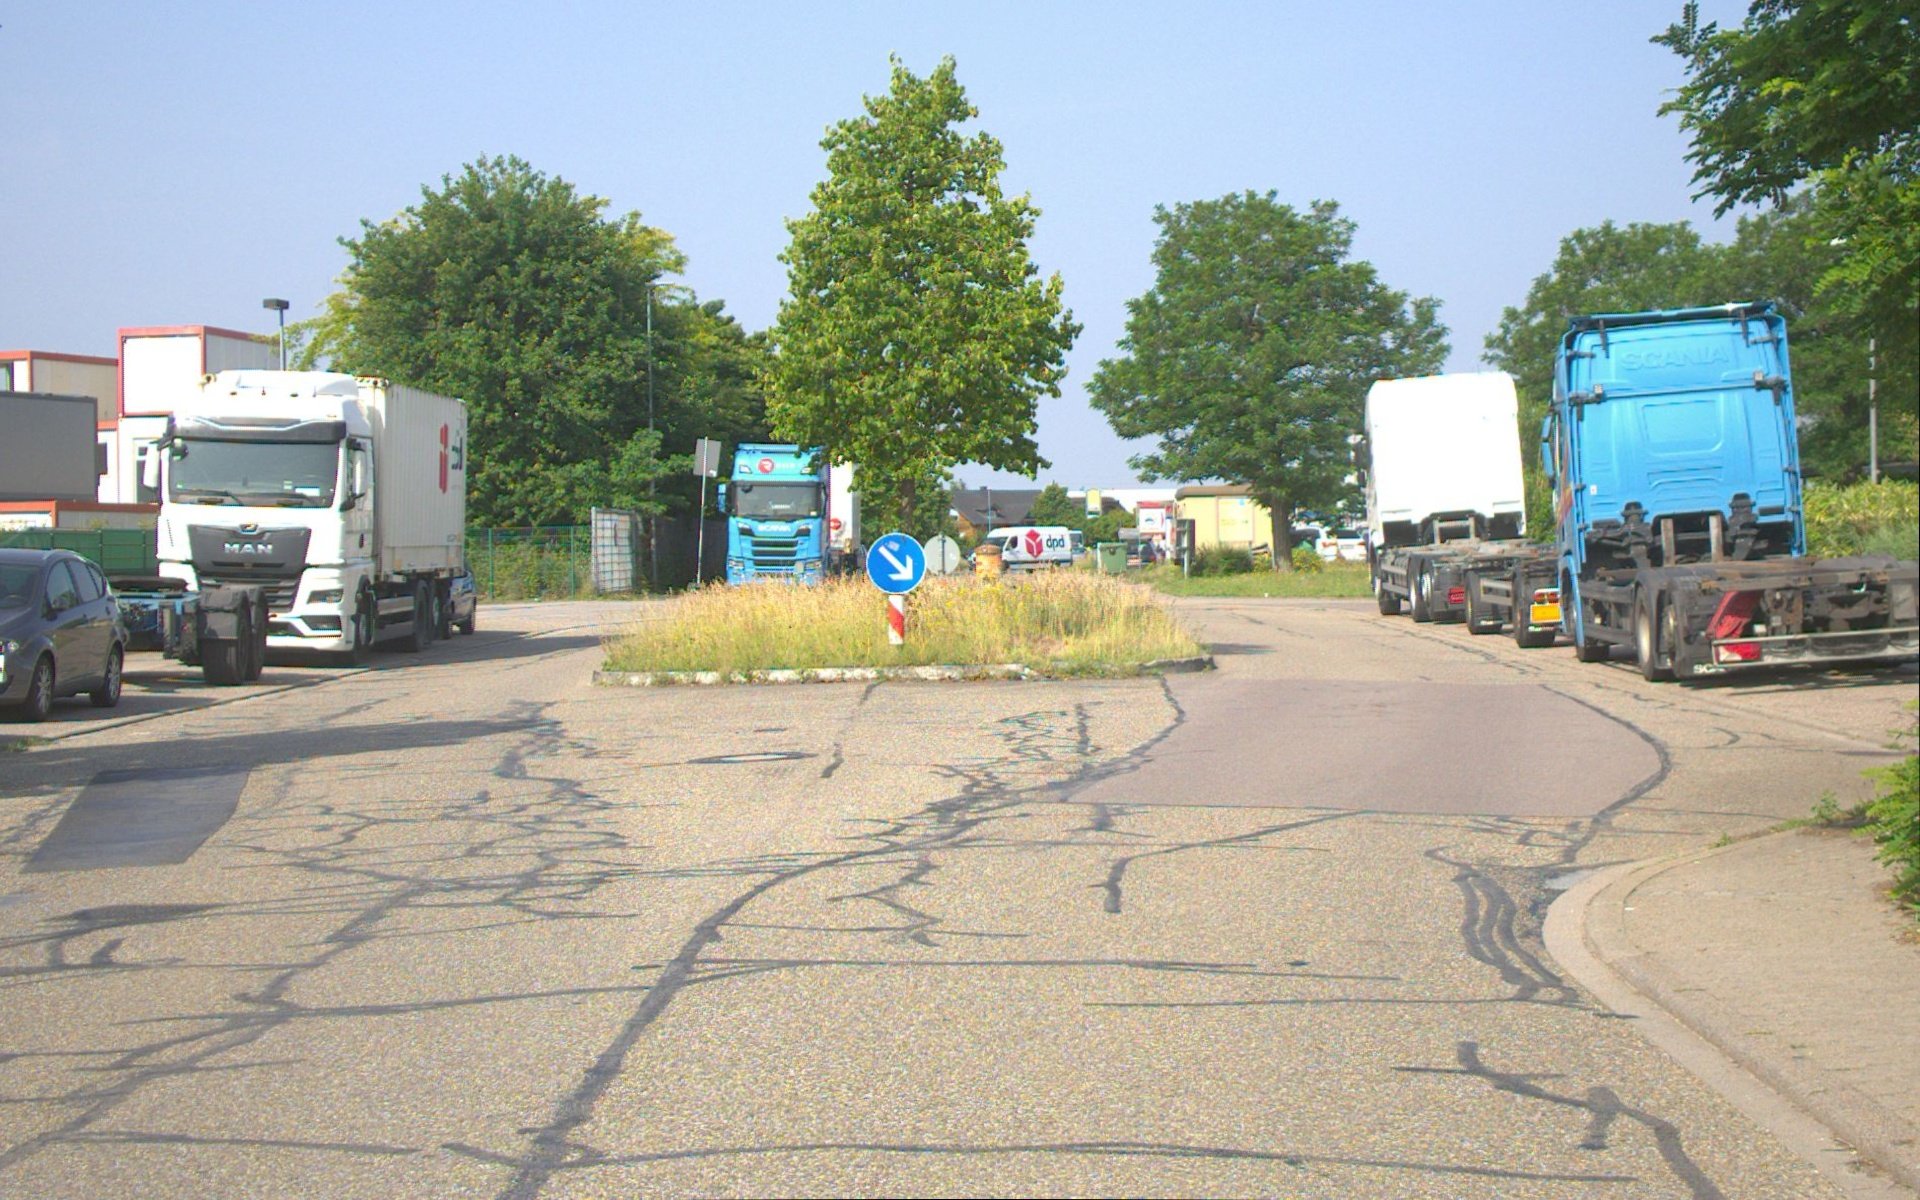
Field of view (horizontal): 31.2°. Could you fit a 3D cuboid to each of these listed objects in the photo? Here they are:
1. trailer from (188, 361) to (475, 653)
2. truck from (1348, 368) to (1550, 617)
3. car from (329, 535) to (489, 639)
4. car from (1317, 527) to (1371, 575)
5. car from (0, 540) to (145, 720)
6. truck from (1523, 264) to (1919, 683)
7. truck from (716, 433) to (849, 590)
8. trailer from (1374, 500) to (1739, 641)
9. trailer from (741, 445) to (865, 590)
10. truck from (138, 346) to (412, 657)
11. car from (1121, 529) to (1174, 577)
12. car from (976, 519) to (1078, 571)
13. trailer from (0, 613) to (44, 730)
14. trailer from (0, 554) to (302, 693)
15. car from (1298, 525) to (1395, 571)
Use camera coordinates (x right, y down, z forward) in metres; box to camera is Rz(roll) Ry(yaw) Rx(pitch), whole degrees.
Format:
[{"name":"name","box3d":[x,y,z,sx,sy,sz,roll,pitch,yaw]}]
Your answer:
[{"name":"trailer","box3d":[-9.023,-1.255,50.219,2.699,3.908,7.575,1,0,0]},{"name":"truck","box3d":[8.325,-1.814,58.992,2.746,3.968,4.000,-3,1,1]},{"name":"car","box3d":[-9.104,-0.245,57.131,1.993,1.635,4.588,0,1,-1]},{"name":"car","box3d":[13.571,-1.732,121.735,1.717,1.612,3.999,1,0,4]},{"name":"car","box3d":[-9.230,0.228,32.963,1.696,1.556,4.336,2,1,1]},{"name":"truck","box3d":[7.980,-1.148,35.050,2.888,3.523,9.754,-4,0,2]},{"name":"truck","box3d":[-4.565,-2.223,90.171,2.825,3.812,9.672,1,0,1]},{"name":"trailer","box3d":[8.231,-0.485,49.949,2.746,1.568,16.171,-3,1,1]},{"name":"trailer","box3d":[-4.419,-2.247,98.971,2.831,3.830,12.036,1,0,1]},{"name":"truck","box3d":[-9.042,-1.254,45.805,2.709,3.908,4.297,1,0,0]},{"name":"car","box3d":[7.098,-1.778,130.312,1.792,1.744,4.000,1,0,0]},{"name":"car","box3d":[3.707,-2.987,188.571,5.771,2.724,1.999,1,0,-42]},{"name":"trailer","box3d":[-9.181,0.603,26.291,2.547,0.922,6.710,2,1,0]},{"name":"trailer","box3d":[-9.421,0.218,39.195,2.681,1.448,5.077,0,1,2]},{"name":"car","box3d":[11.676,-1.566,104.078,1.667,1.325,3.664,1,0,-15]}]
